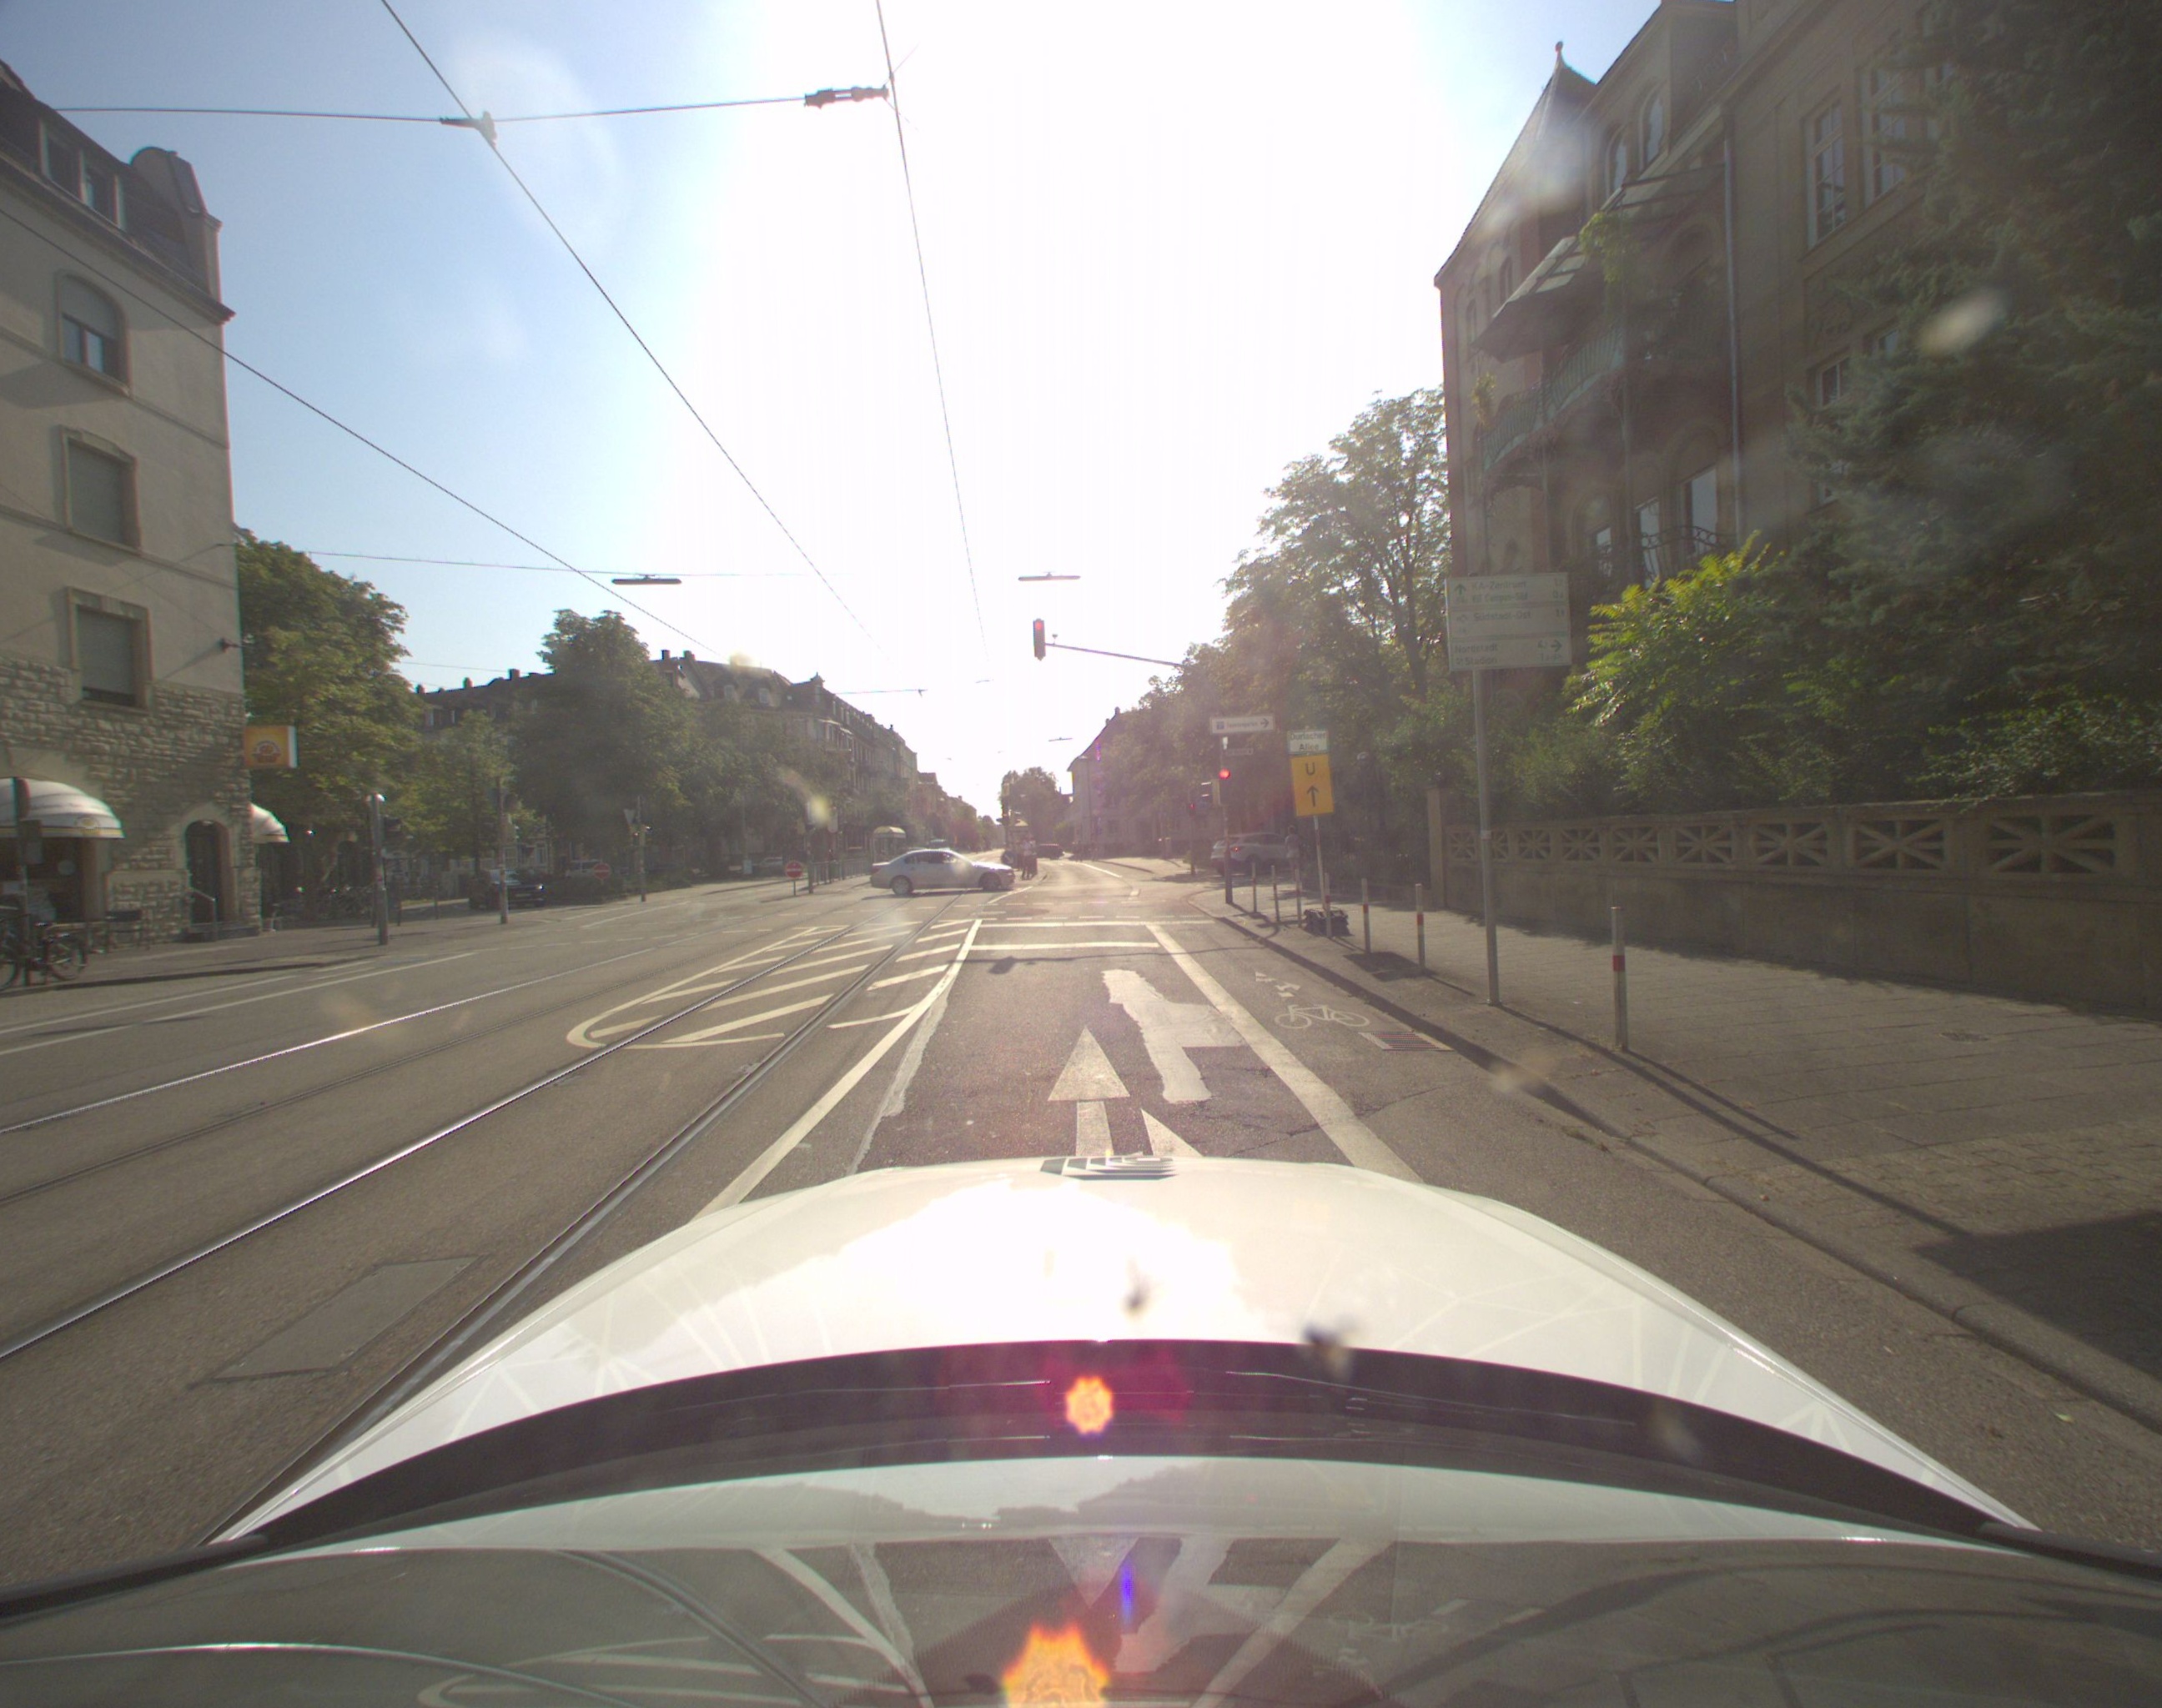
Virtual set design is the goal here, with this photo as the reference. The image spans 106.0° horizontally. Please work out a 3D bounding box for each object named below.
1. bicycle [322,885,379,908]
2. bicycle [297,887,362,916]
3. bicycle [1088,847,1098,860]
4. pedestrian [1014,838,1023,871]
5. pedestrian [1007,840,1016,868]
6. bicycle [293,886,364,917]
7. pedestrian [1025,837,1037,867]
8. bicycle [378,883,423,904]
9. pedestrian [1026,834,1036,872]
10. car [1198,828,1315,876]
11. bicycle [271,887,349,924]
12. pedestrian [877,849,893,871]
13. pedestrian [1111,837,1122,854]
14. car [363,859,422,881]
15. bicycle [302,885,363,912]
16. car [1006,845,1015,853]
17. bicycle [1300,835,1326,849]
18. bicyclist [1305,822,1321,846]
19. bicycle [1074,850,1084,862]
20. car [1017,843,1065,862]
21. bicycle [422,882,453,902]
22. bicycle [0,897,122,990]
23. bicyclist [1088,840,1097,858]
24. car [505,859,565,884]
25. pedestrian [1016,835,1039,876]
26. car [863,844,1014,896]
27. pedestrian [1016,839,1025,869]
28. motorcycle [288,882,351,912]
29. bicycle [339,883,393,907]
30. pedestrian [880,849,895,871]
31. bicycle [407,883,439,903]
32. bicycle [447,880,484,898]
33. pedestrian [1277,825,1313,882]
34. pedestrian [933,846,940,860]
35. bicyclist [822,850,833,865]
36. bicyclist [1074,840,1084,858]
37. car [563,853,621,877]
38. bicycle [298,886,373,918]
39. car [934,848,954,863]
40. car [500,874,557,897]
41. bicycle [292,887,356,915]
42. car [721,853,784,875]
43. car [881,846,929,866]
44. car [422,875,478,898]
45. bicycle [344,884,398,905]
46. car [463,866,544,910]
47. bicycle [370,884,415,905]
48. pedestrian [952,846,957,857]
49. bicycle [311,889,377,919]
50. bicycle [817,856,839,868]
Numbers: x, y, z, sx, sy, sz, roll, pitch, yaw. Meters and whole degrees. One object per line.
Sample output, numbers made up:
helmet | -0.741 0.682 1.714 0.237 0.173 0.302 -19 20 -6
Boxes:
bicycle | -34.230 1.982 38.202 1.910 0.980 0.678 -3 0 -38
bicycle | -28.942 1.828 31.380 0.563 0.984 1.815 -2 0 45
bicycle | 0.948 -0.062 66.498 0.557 0.977 1.853 -3 1 -5
pedestrian | -3.387 0.041 44.196 0.503 1.759 0.533 0 3 -4
pedestrian | -4.287 -0.003 50.374 0.531 1.759 0.544 0 3 -3
bicycle | -27.996 1.750 30.318 1.889 1.033 0.563 -3 0 -43
pedestrian | -2.948 -0.141 48.431 0.707 1.759 0.533 0 3 -4
bicycle | -37.986 2.196 45.483 1.774 0.977 0.600 -3 1 -27
pedestrian | -2.428 -0.059 39.558 0.503 1.833 0.533 0 3 -4
car | 6.886 -0.098 31.867 4.350 1.630 1.979 -4 1 -34
bicycle | -26.606 1.751 28.153 0.564 1.113 1.887 -2 0 17
pedestrian | -12.315 0.359 51.195 0.827 1.358 0.774 -3 1 -9
pedestrian | 3.697 -0.900 84.786 0.884 1.740 0.780 -3 1 18
car | -64.271 1.499 76.025 3.964 1.828 2.005 -3 1 8
bicycle | -32.845 1.940 35.780 1.887 1.027 0.656 -3 0 -38
car | -15.057 -1.039 174.264 1.797 1.653 3.638 -3 1 -3
bicycle | 18.304 -0.960 64.354 1.918 0.977 0.499 -2 1 42
bicyclist | 18.324 -1.609 64.309 0.977 1.857 0.496 -2 1 42
bicycle | -0.152 0.146 67.097 0.628 0.977 1.767 -3 1 -5
car | -3.828 -0.157 78.638 4.298 1.569 2.004 -3 1 7
bicycle | -36.421 2.146 46.132 0.424 0.977 1.767 -3 1 -4
bicycle | -15.935 1.344 12.542 0.453 1.226 1.848 -3 1 -14
bicyclist | 0.923 -0.434 66.507 0.557 1.416 0.870 -3 1 -6
car | -45.247 1.415 67.534 3.955 1.828 2.009 -2 1 17
pedestrian | -2.308 0.039 35.295 0.693 1.724 0.753 1 3 29
car | -4.712 0.495 27.566 4.761 1.466 1.868 -3 1 -4
pedestrian | -3.635 -0.006 49.002 0.542 1.759 0.533 0 3 -4
motorcycle | -32.467 1.825 34.755 1.884 1.154 0.601 -3 0 -38
bicycle | -34.676 1.979 39.532 1.910 0.980 0.678 -3 0 -38
pedestrian | -12.405 0.351 52.166 0.827 1.358 0.774 -3 1 -9
bicycle | -36.749 2.162 45.518 0.424 0.977 1.767 -3 1 -4
bicycle | -37.301 2.131 49.386 1.757 0.977 0.606 -3 1 3
pedestrian | 6.650 -0.013 25.377 0.751 1.730 0.768 -3 1 -13
pedestrian | -18.244 -0.117 102.965 0.751 1.730 0.768 -3 1 -13
bicyclist | -23.174 0.291 74.419 0.820 1.328 0.546 -3 1 -15
bicyclist | -0.174 -0.424 67.089 0.628 1.507 0.677 -3 1 -6
car | -41.602 0.910 69.255 3.955 1.828 2.009 -2 1 17
bicycle | -26.857 1.717 29.378 0.562 1.003 1.890 -2 0 32
car | -15.942 0.174 95.106 1.797 1.653 3.638 -3 1 -3
car | -48.578 2.751 71.588 3.955 1.828 2.009 -2 1 17
bicycle | -29.862 1.835 32.148 0.652 0.983 1.815 -2 0 45
car | -27.511 0.836 68.310 1.975 1.569 4.363 -2 1 44
car | -16.669 0.186 77.321 4.324 1.675 1.993 -3 1 -11
car | -57.572 2.986 74.327 3.955 1.828 2.009 -2 1 17
bicycle | -35.555 2.015 40.807 1.880 0.935 0.634 -3 0 -22
car | -22.730 1.289 32.012 4.174 1.515 1.622 -1 2 42
bicycle | -37.799 2.205 44.720 1.774 0.977 0.515 -3 1 -26
pedestrian | -21.665 -0.442 139.730 0.751 1.730 0.768 -3 1 -13
bicycle | -25.733 1.721 28.444 0.473 0.920 1.618 -2 0 26
bicycle | -23.147 0.750 74.426 1.854 0.958 0.546 -3 1 -15
